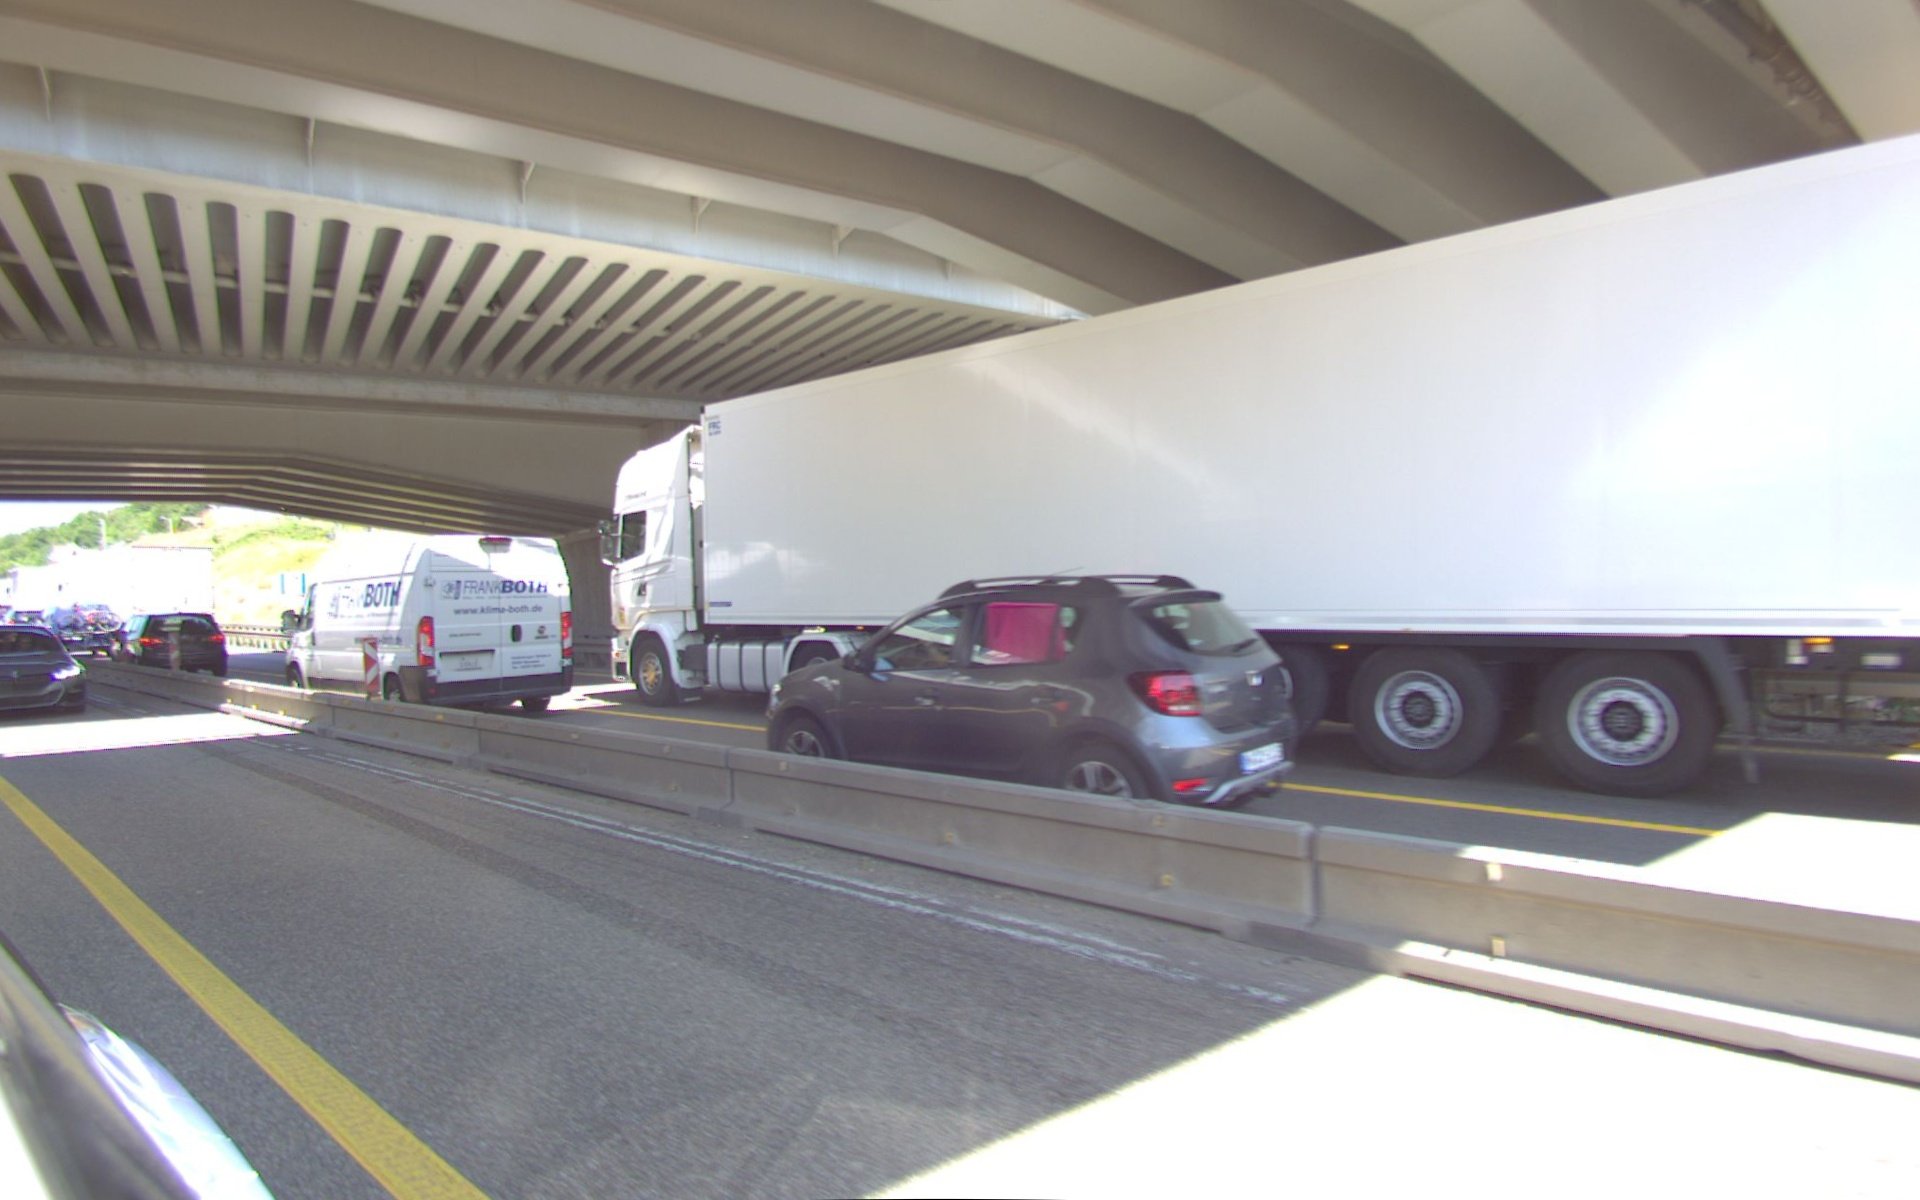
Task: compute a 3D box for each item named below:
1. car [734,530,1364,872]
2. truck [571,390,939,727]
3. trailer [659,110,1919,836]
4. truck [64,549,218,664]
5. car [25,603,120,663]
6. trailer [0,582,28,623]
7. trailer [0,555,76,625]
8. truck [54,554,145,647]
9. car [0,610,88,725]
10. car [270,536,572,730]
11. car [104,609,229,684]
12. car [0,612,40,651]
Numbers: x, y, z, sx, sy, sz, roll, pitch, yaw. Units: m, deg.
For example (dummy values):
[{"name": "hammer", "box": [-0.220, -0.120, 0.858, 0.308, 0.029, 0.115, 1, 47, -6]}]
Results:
[{"name": "car", "box": [0.398, 0.543, 6.996, 4.076, 1.683, 1.728, -2, -1, 41]}, {"name": "truck", "box": [-3.129, -0.508, 14.964, 4.884, 4.081, 2.843, -2, 1, 42]}, {"name": "trailer", "box": [2.372, -0.636, 10.157, 14.347, 4.070, 2.848, -2, 1, 40]}, {"name": "truck", "box": [-35.684, 0.182, 43.773, 13.482, 4.345, 2.741, 1, 1, 41]}, {"name": "car", "box": [-31.222, 1.107, 35.558, 4.964, 1.947, 1.782, -1, 0, 40]}, {"name": "trailer", "box": [-94.210, 0.211, 100.262, 2.624, 3.844, 11.832, -1, 1, -43]}, {"name": "trailer", "box": [-59.508, -0.656, 65.211, 8.241, 4.205, 2.783, 1, 1, 42]}, {"name": "truck", "box": [-41.093, -0.007, 48.302, 5.186, 4.202, 2.631, 1, 1, 42]}, {"name": "car", "box": [-15.367, 0.997, 16.083, 4.389, 1.609, 1.814, 0, 1, 43]}, {"name": "car", "box": [-8.170, 0.424, 14.984, 6.056, 2.347, 1.960, -1, 0, 42]}, {"name": "car", "box": [-19.286, 1.064, 24.537, 4.141, 1.622, 1.730, -1, 0, 43]}, {"name": "car", "box": [-42.786, 1.433, 45.407, 4.522, 1.622, 1.704, -2, 1, 41]}]
